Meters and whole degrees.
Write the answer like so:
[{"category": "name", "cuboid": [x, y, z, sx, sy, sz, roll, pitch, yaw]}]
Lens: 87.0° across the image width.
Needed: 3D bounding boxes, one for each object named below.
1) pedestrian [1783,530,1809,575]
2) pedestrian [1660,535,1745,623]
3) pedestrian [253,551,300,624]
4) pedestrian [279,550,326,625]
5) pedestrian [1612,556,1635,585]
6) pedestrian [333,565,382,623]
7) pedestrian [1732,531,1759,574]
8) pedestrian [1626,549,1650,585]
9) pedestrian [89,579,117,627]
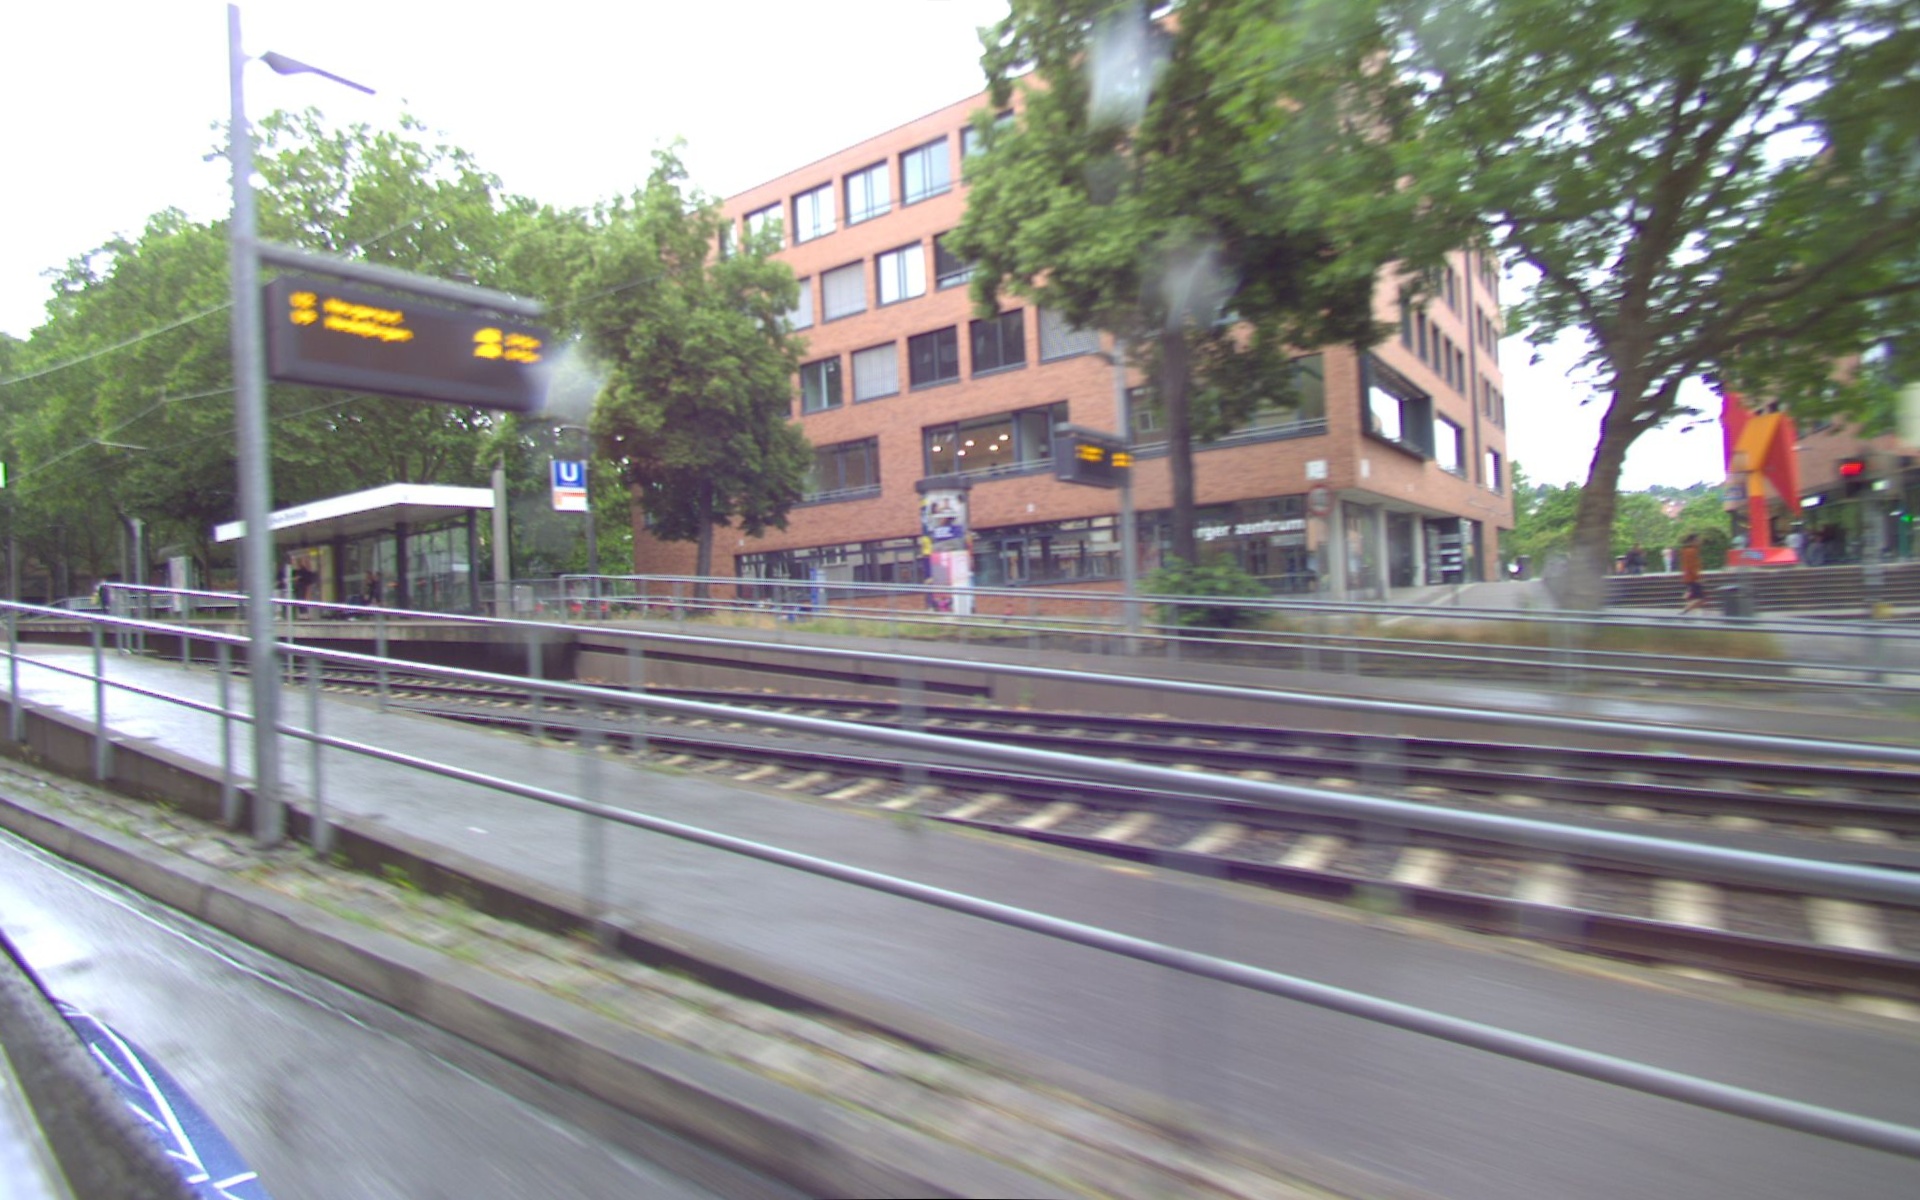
[{"category": "pedestrian", "cuboid": [33.240, -1.863, 40.247, 0.645, 1.743, 0.613, -1, 0, 28]}, {"category": "pedestrian", "cuboid": [15.191, -0.450, 20.731, 0.779, 1.757, 1.073, -1, 4, -21]}, {"category": "pedestrian", "cuboid": [-19.736, -0.351, 29.246, 0.881, 2.078, 0.828, -1, 0, 31]}, {"category": "pedestrian", "cuboid": [-18.605, -0.333, 28.640, 0.881, 2.078, 0.828, -1, 0, 31]}, {"category": "pedestrian", "cuboid": [36.450, -1.600, 55.591, 0.841, 1.542, 0.731, -1, 0, -29]}, {"category": "pedestrian", "cuboid": [-15.741, -0.148, 26.454, 0.881, 1.494, 0.773, -1, 0, 31]}, {"category": "pedestrian", "cuboid": [33.205, -2.000, 42.796, 0.724, 1.743, 0.643, -1, 0, 23]}, {"category": "pedestrian", "cuboid": [30.060, -1.463, 44.868, 0.616, 1.562, 0.718, -1, 0, -34]}, {"category": "pedestrian", "cuboid": [-33.158, 0.123, 39.175, 0.702, 1.804, 0.669, -1, -1, 36]}]
